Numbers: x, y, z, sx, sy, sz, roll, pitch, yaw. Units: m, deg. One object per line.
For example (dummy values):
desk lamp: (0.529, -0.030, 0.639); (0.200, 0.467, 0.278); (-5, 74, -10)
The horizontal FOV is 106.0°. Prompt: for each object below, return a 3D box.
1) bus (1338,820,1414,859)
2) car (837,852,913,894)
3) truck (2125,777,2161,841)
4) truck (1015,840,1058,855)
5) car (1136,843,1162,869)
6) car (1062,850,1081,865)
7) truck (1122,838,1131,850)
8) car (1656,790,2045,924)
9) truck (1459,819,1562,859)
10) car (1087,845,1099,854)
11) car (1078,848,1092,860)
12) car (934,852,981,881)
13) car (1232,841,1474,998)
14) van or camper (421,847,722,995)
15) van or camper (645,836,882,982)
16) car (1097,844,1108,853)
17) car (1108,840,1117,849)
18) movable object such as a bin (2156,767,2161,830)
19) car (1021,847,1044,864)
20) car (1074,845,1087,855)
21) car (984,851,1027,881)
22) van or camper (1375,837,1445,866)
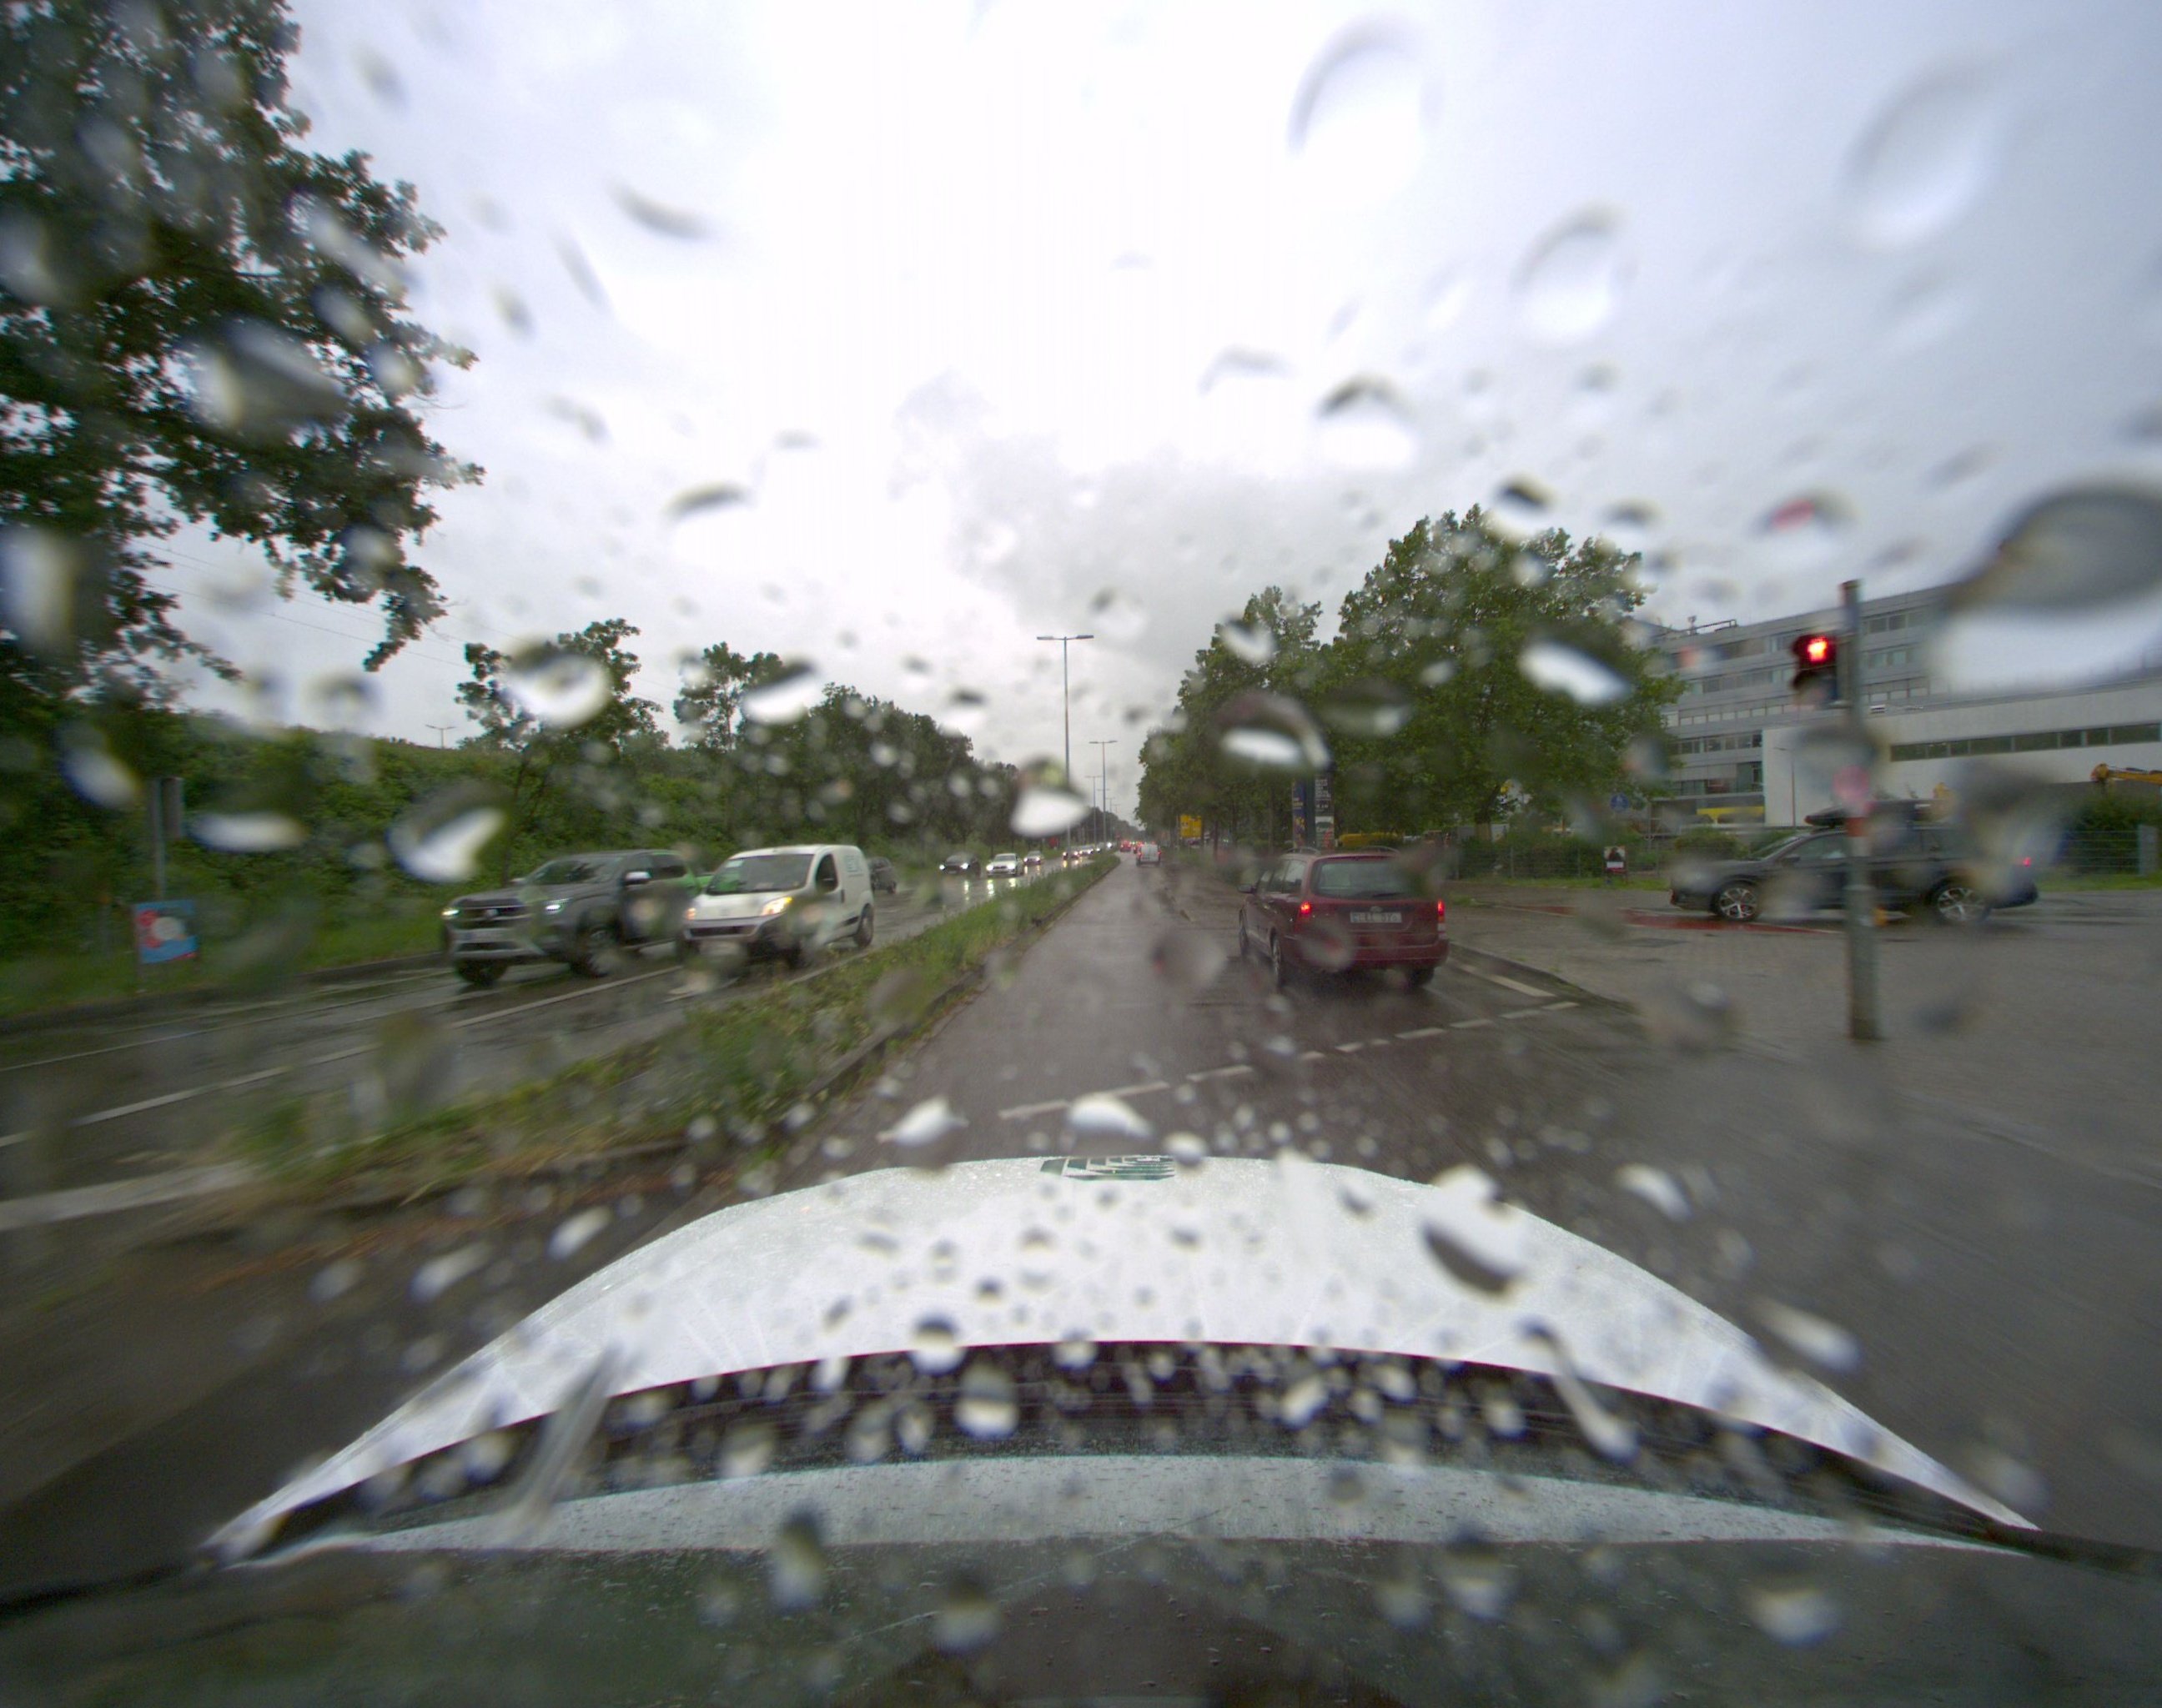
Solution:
bus: (21.030, -1.012, 58.247); (4.770, 2.647, 2.003); (-1, 1, 5)
car: (-8.822, 0.765, 35.251); (1.890, 1.613, 4.409); (-2, 0, 3)
truck: (59.657, -2.437, 40.451); (2.505, 3.345, 9.376); (0, -1, -31)
truck: (-10.409, -1.546, 190.232); (10.178, 3.452, 2.631); (0, -1, -33)
car: (5.446, 0.170, 65.698); (1.985, 2.014, 4.003); (0, -1, 3)
car: (-1.187, 0.429, 102.754); (1.889, 1.613, 4.118); (-4, 0, 5)
truck: (9.108, -1.968, 162.734); (1.749, 2.466, 4.003); (0, 1, 3)
car: (13.281, 0.087, 14.567); (4.694, 2.056, 1.945); (-2, 0, 30)
truck: (35.006, -1.148, 66.269); (9.534, 3.032, 3.050); (0, -1, -32)
car: (2.144, -0.820, 145.618); (1.903, 1.574, 4.707); (-3, 1, -1)
car: (0.667, -0.032, 123.322); (1.890, 1.613, 4.115); (-2, 0, 3)
car: (-7.830, 0.770, 52.177); (2.029, 1.660, 4.683); (-2, 0, 3)
car: (3.041, 0.617, 10.026); (1.831, 1.536, 4.115); (0, 1, 3)
van or camper: (-7.414, 0.836, 12.471); (1.693, 1.784, 4.224); (-3, 0, 3)
van or camper: (-4.508, 0.679, 12.296); (1.721, 1.742, 4.003); (-4, 0, 3)
car: (4.466, -1.145, 170.486); (1.900, 1.574, 4.715); (-4, 1, 4)
car: (8.035, -2.318, 205.799); (1.816, 1.572, 4.370); (7, 8, 4)
movable object such as a bin: (63.980, -3.254, 45.738); (3.566, 3.625, 3.341); (-1, 0, 39)
car: (-5.126, 0.139, 86.920); (1.890, 1.613, 4.481); (-2, 0, 3)
car: (-0.128, -0.750, 148.915); (1.984, 1.687, 4.715); (-3, 1, 4)
car: (-4.687, 0.718, 51.415); (1.890, 1.613, 4.716); (-4, 0, 4)
van or camper: (22.172, -0.166, 54.943); (3.974, 1.906, 1.802); (0, 1, -1)
